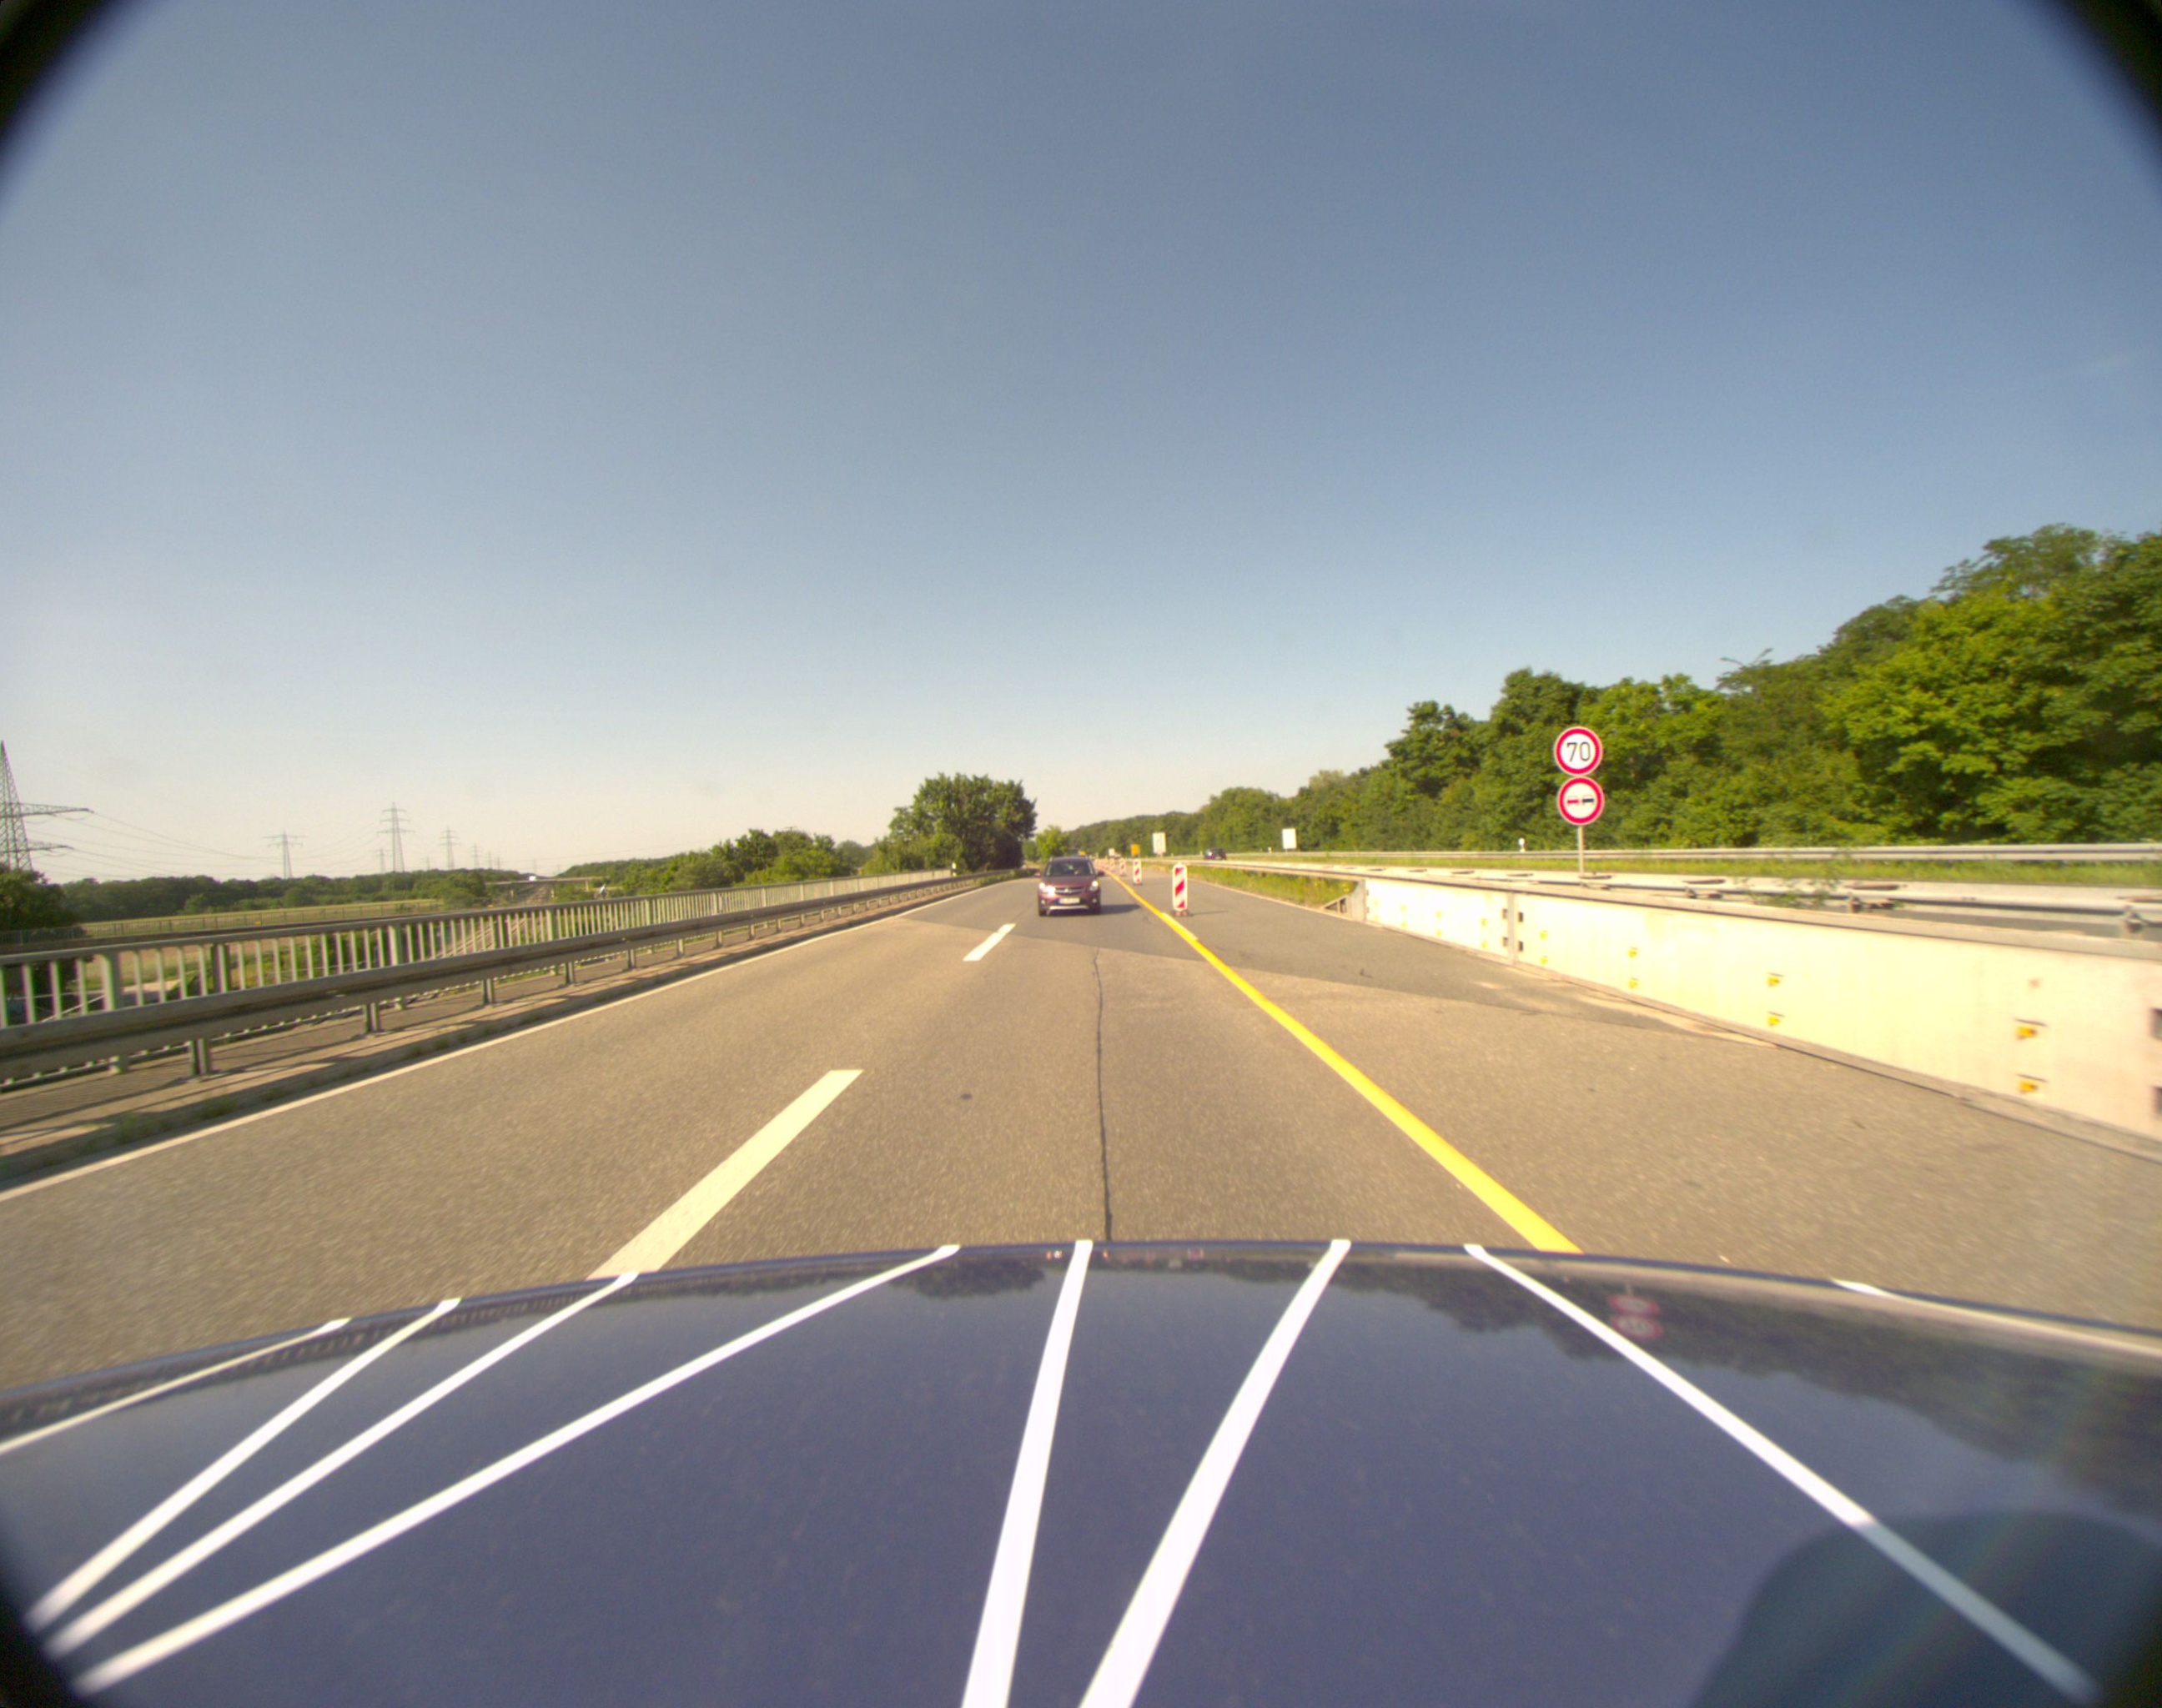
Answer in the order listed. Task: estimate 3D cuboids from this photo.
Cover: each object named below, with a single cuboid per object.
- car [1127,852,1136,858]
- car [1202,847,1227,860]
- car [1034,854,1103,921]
[{"bbox_3d":[13.496,0.355,201.848,1.998,1.537,3.999,-2,1,0],"label":"car"},{"bbox_3d":[12.704,-0.050,72.449,1.595,1.140,3.768,-2,1,-1],"label":"car"},{"bbox_3d":[-0.248,0.831,20.923,1.587,1.491,4.415,-3,1,2],"label":"car"}]
